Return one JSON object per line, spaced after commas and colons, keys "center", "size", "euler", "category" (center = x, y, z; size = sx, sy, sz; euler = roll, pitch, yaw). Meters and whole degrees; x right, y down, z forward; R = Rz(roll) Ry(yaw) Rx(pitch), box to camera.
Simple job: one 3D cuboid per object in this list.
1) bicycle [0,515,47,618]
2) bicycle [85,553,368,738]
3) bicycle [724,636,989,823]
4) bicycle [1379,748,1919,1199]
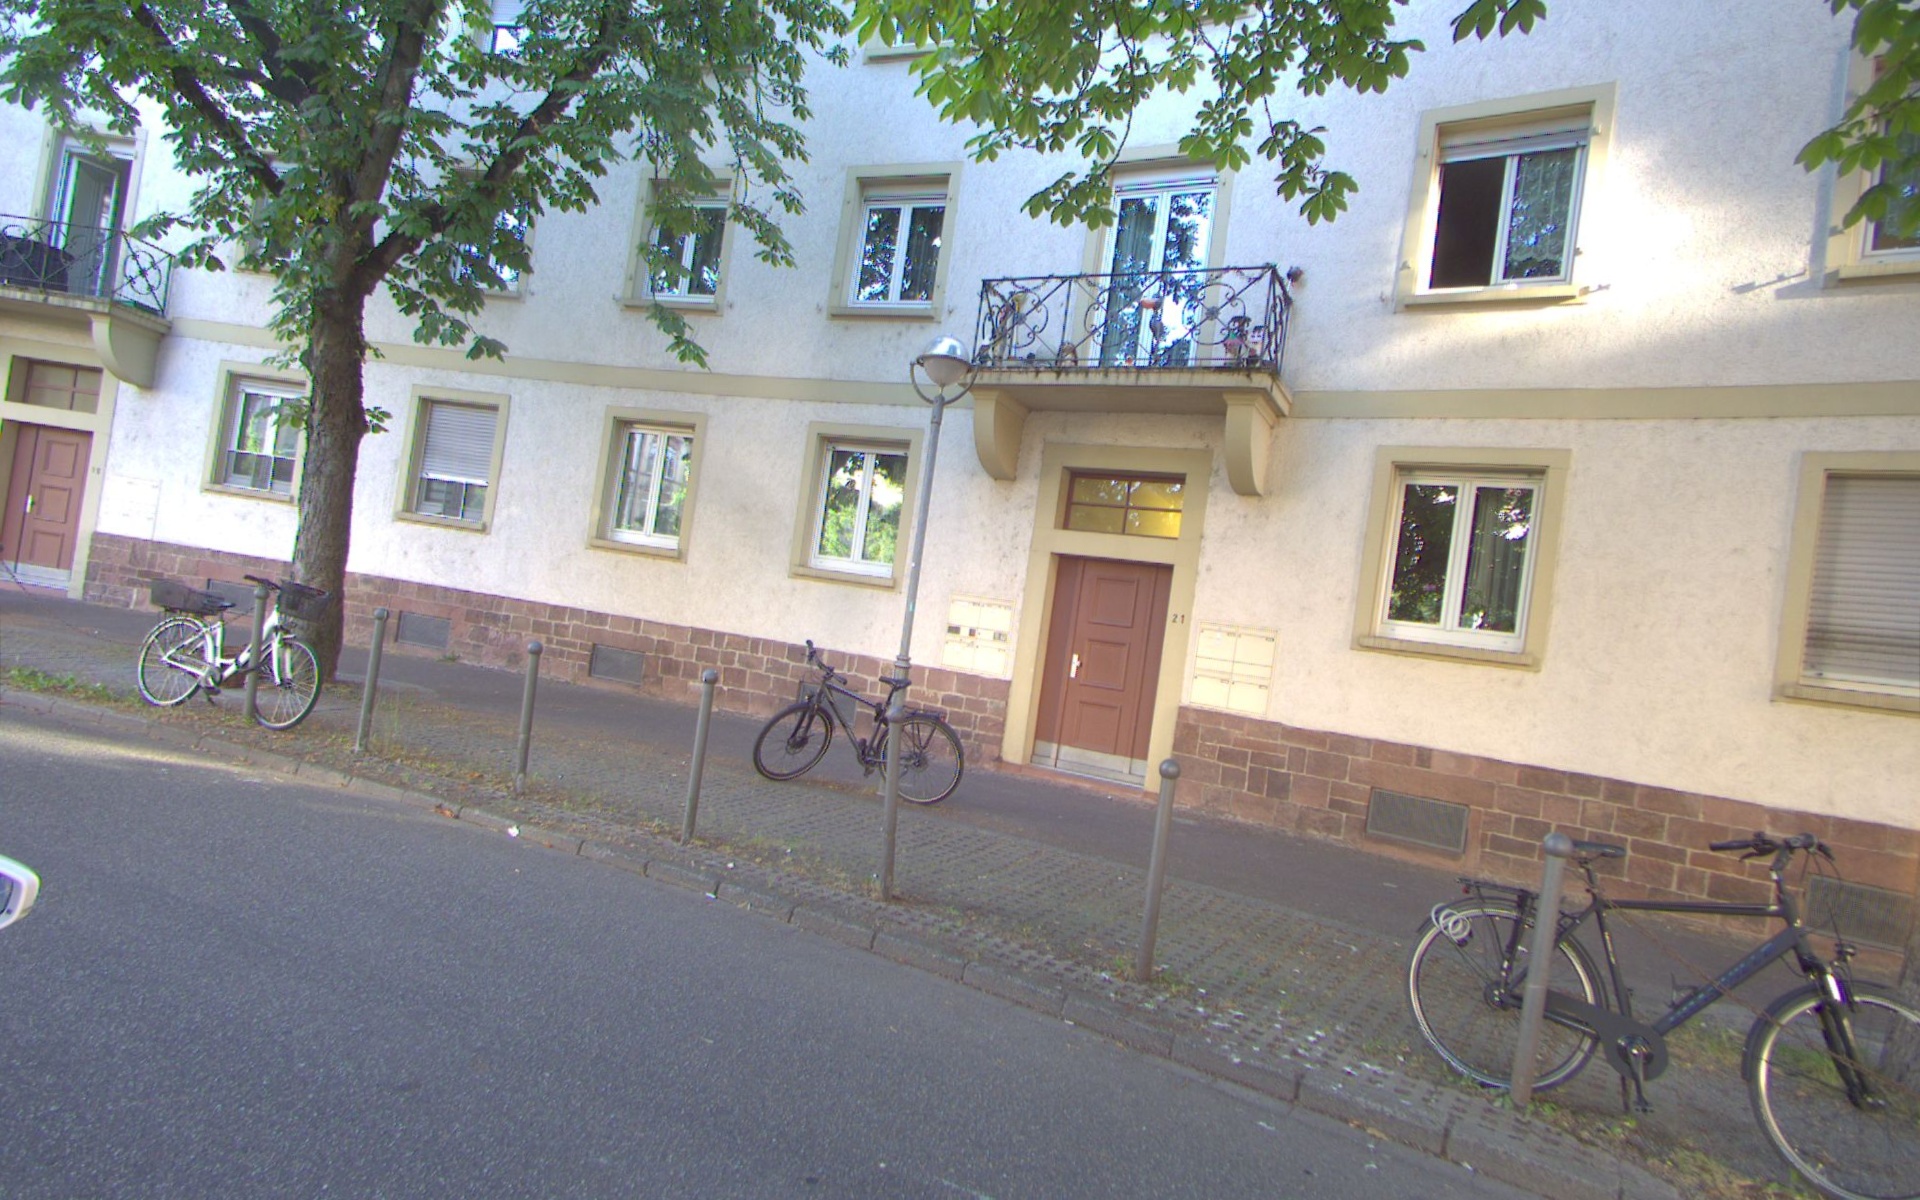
{"center": [-11.693, -0.508, 11.566], "size": [1.929, 1.120, 0.670], "euler": [8, -2, 13], "category": "bicycle"}
{"center": [-5.651, 0.334, 7.757], "size": [1.936, 1.109, 0.514], "euler": [8, 0, 12], "category": "bicycle"}
{"center": [-0.783, 0.988, 7.993], "size": [1.823, 1.131, 0.804], "euler": [8, -1, 8], "category": "bicycle"}
{"center": [2.639, 1.328, 3.633], "size": [1.881, 1.237, 0.719], "euler": [7, -1, 29], "category": "bicycle"}
